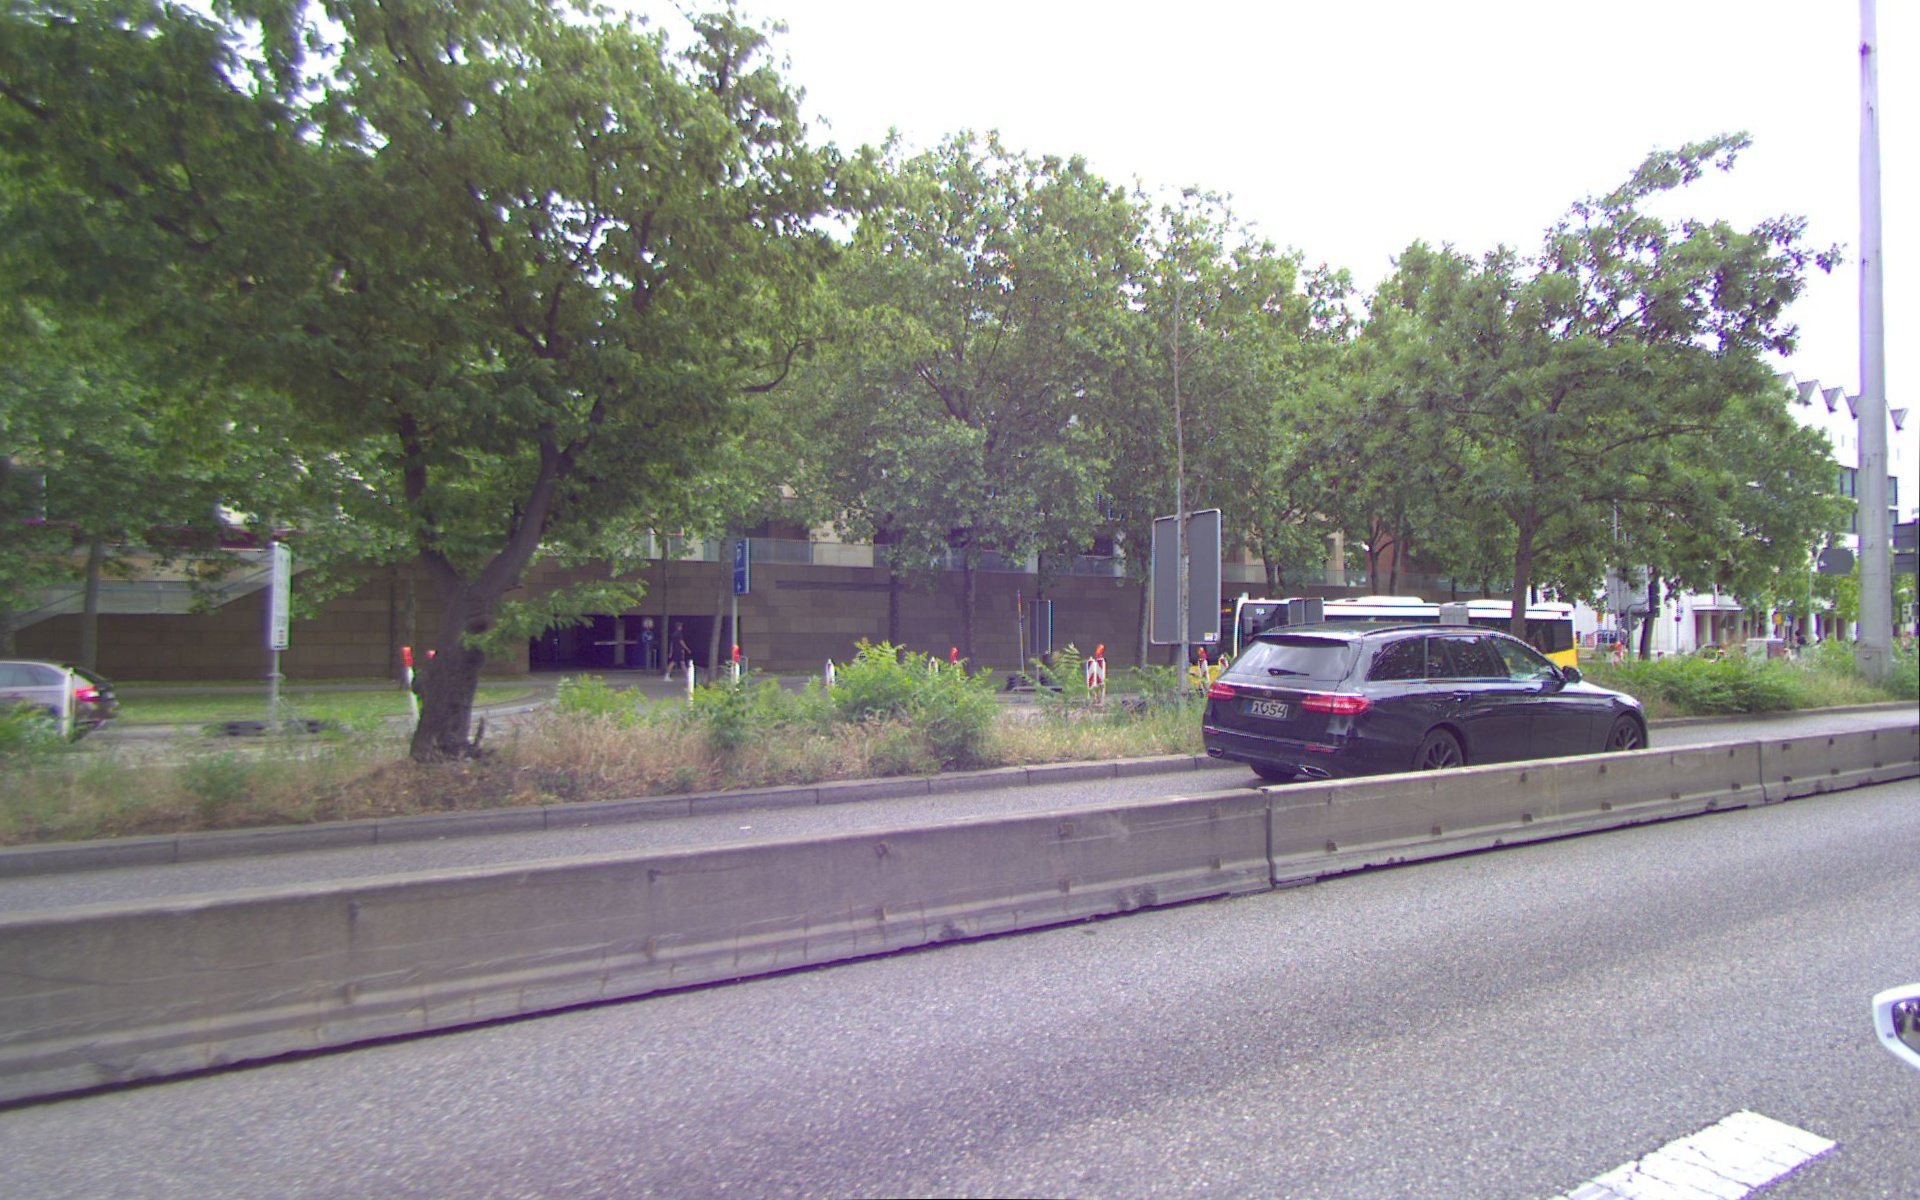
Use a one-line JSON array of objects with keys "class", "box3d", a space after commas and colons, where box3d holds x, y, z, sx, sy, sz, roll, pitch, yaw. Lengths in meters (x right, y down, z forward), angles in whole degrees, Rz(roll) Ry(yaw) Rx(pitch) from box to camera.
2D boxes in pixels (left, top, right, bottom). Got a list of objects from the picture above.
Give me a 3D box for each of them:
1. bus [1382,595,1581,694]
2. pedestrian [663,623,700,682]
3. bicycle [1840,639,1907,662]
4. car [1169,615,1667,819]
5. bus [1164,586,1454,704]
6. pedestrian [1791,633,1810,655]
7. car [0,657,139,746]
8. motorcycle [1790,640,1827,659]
[{"class": "bus", "box3d": [19.258, 1.629, 36.998, 7.616, 3.347, 2.909, 2, -2, -30]}, {"class": "pedestrian", "box3d": [-9.007, 1.691, 32.463, 0.976, 1.878, 0.718, 2, -4, -30]}, {"class": "bicycle", "box3d": [70.601, 3.875, 77.660, 1.169, 1.706, 3.597, 1, -2, -30]}, {"class": "car", "box3d": [4.372, 0.946, 9.332, 4.807, 1.479, 1.803, 2, -2, -31]}, {"class": "bus", "box3d": [11.471, 1.441, 32.446, 10.327, 3.348, 2.899, 2, -2, -31]}, {"class": "pedestrian", "box3d": [59.837, 3.115, 71.523, 0.865, 1.577, 0.598, 0, -2, 19]}, {"class": "car", "box3d": [-15.479, 1.629, 16.371, 3.021, 1.305, 1.345, 2, 0, -31]}, {"class": "motorcycle", "box3d": [58.535, 3.406, 69.291, 1.859, 1.249, 0.657, -1, -5, 37]}]
